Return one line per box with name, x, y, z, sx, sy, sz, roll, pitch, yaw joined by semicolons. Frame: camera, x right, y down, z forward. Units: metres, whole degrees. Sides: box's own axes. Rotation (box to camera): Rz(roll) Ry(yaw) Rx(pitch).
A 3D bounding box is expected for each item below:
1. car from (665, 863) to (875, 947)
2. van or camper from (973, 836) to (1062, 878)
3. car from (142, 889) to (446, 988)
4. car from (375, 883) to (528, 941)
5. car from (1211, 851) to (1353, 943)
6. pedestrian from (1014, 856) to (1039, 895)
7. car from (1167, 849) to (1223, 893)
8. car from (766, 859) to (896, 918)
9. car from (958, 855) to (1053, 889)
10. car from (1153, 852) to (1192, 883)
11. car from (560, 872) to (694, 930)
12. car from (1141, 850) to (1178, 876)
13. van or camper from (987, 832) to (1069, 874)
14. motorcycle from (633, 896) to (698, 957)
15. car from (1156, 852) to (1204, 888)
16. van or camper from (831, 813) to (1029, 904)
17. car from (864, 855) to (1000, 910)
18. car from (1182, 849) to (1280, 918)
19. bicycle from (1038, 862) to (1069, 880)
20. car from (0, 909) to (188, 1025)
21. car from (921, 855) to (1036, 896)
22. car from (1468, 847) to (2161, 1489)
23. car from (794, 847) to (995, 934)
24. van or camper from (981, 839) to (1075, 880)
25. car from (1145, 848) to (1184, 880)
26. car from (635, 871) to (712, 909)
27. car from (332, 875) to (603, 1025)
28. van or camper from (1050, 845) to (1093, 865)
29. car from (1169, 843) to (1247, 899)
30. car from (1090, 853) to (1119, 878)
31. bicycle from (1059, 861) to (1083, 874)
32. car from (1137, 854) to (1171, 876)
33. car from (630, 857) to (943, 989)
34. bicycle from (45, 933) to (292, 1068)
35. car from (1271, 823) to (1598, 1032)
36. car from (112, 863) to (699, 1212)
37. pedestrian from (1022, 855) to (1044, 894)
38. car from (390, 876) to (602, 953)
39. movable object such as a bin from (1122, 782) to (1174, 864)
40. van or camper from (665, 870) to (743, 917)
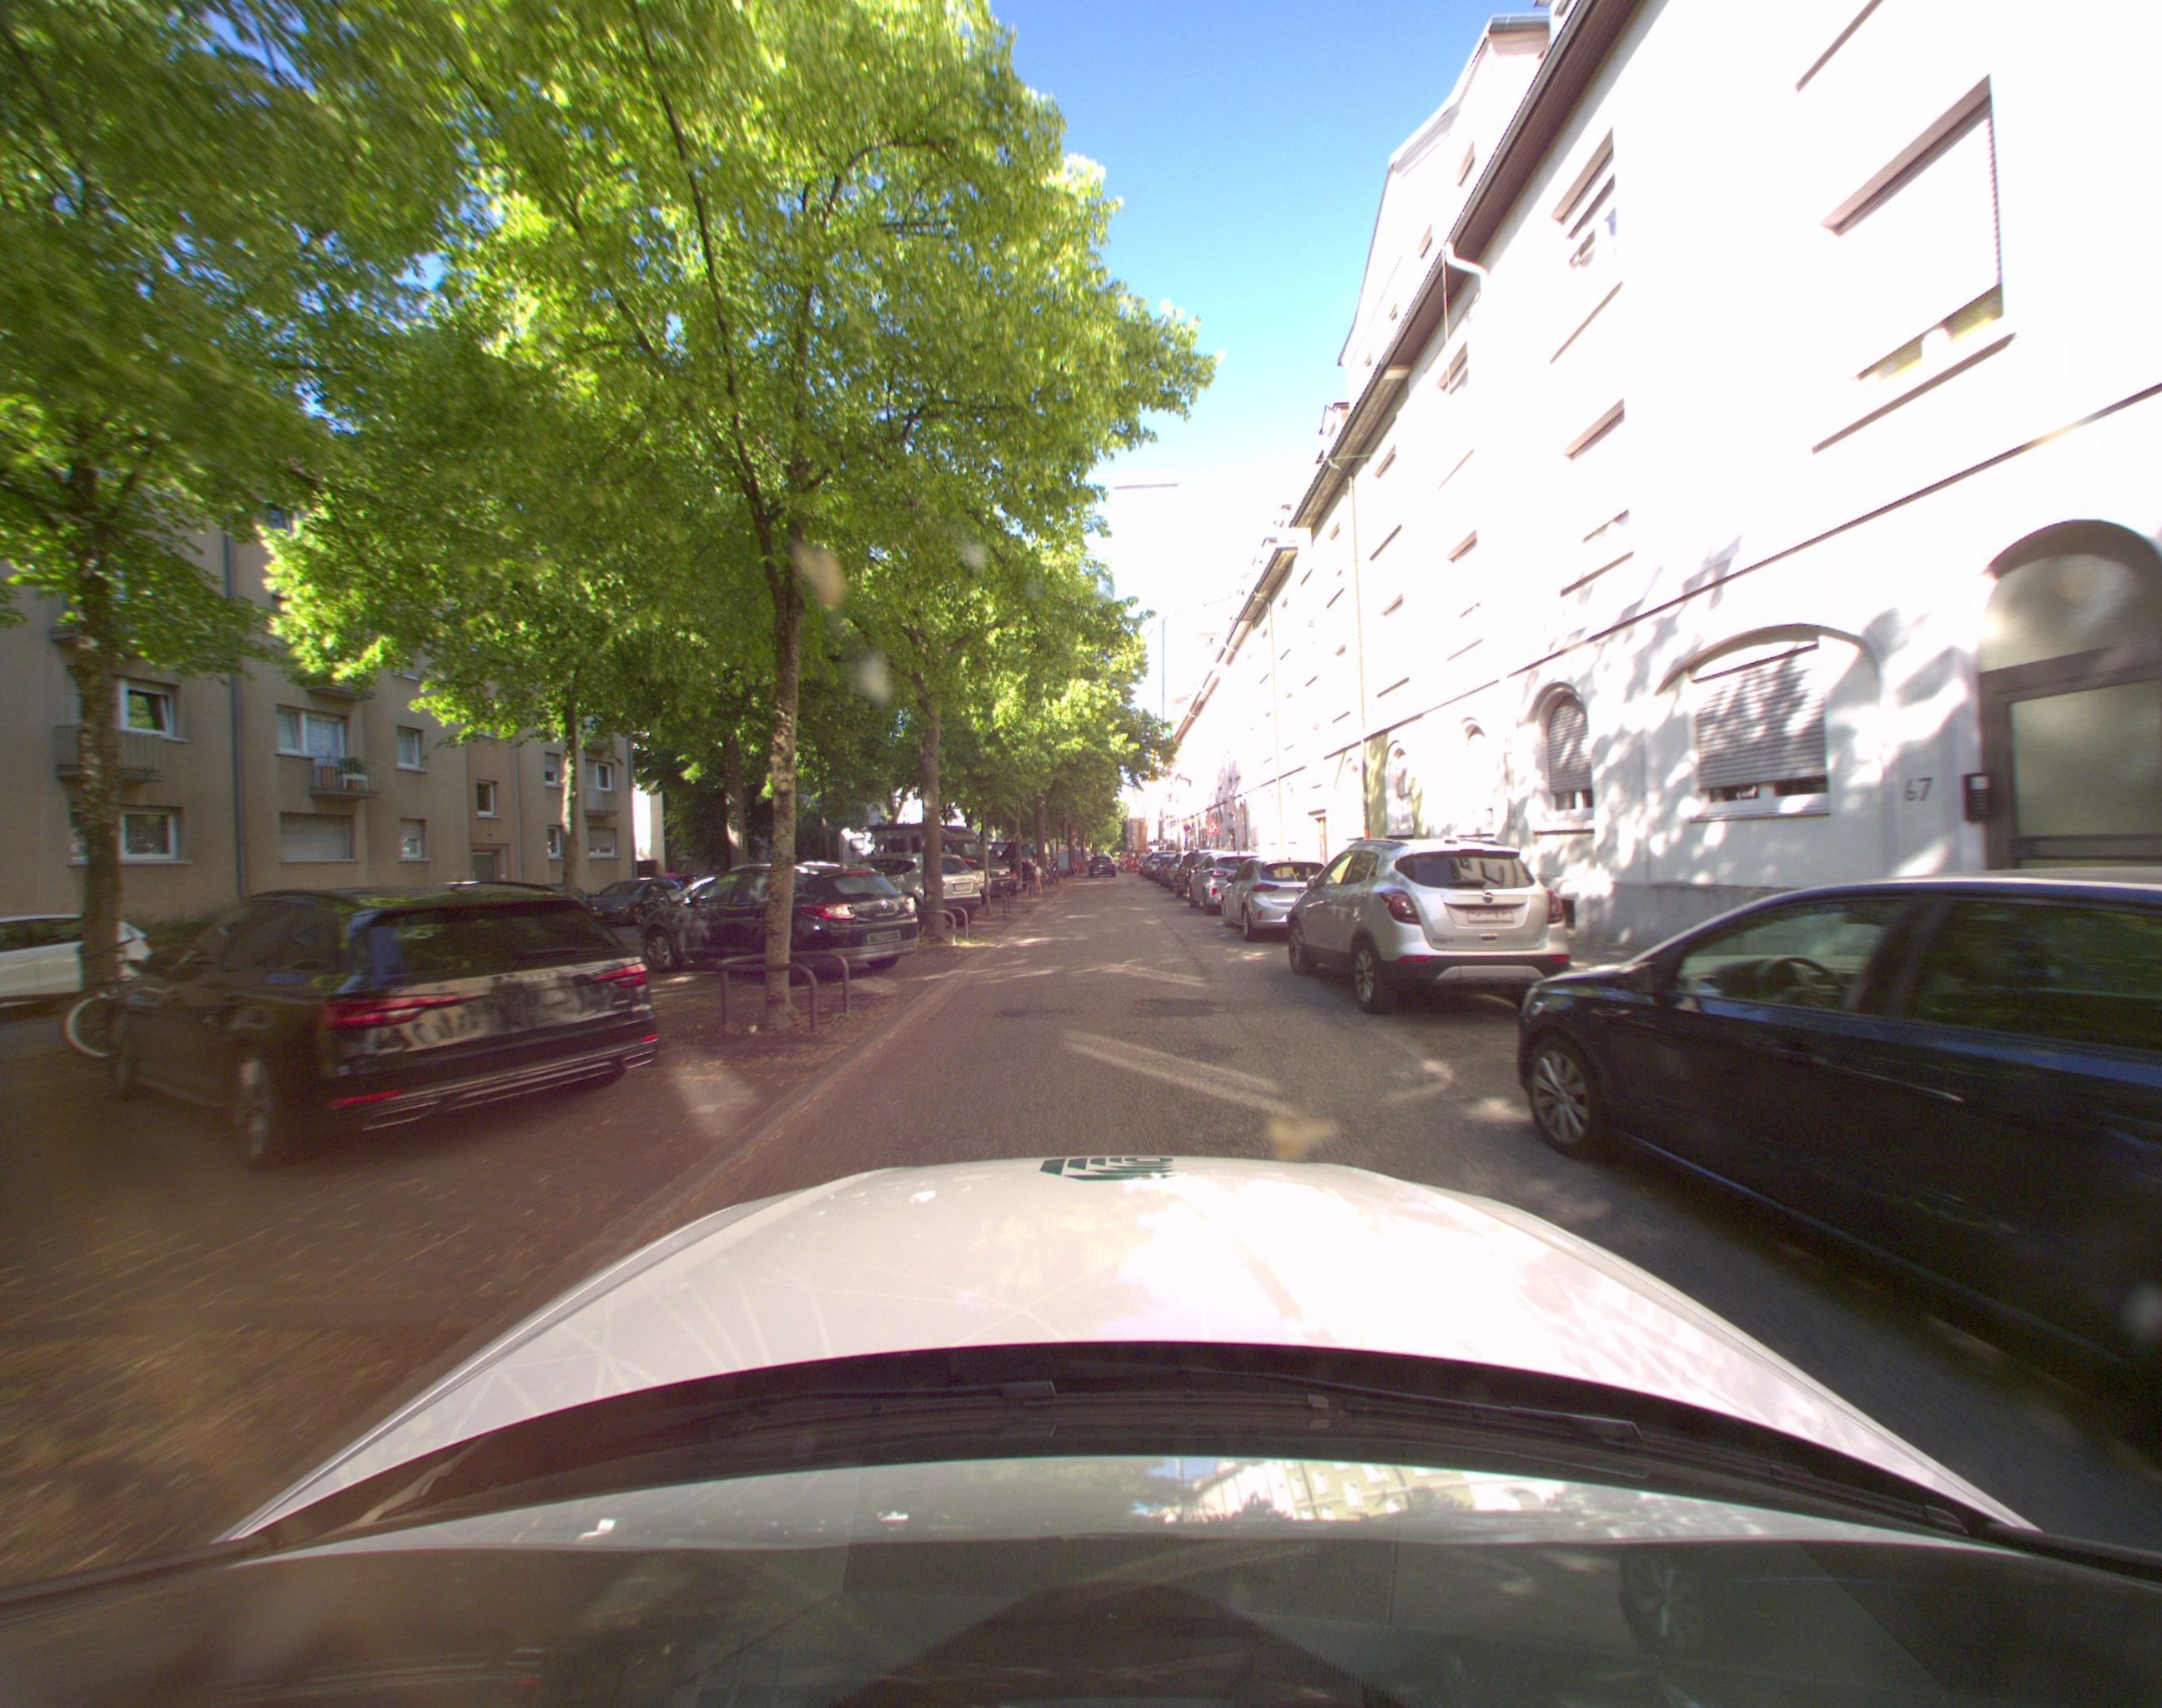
car;-6.116;0.908;15.902;3.990;1.403;1.835;-1;0;34
van or camper;-4.427;0.230;56.348;5.811;2.637;2.269;-3;0;31
car;-14.917;1.526;15.825;1.885;1.418;4.002;-3;0;2
car;-18.784;1.682;24.514;1.618;1.386;3.614;-3;0;2
car;3.622;0.693;15.429;1.716;1.432;4.160;-3;0;2
pedestrian;-2.090;0.823;31.175;0.703;1.456;0.600;-3;0;25
car;4.310;0.596;31.198;1.625;1.534;3.592;-3;0;0
car;-7.298;1.007;23.715;3.498;1.507;1.769;-3;0;35
car;-3.700;0.880;39.466;4.431;1.443;1.744;-2;0;34
car;4.581;0.646;41.313;1.611;1.412;3.790;-3;0;2
car;-14.621;1.452;26.561;1.757;1.508;4.311;-3;0;2
car;4.971;0.523;52.201;1.786;1.523;3.960;-3;0;-3
van or camper;-4.551;-0.069;69.465;6.592;3.240;2.511;-3;0;30
motorcycle;-7.473;1.263;14.598;0.693;0.957;1.897;-3;0;-37
car;4.352;0.663;36.316;1.625;1.412;4.089;-3;0;0
van or camper;-5.655;0.216;30.008;7.157;2.929;2.328;-3;0;28
car;-4.695;0.912;25.554;3.948;1.507;1.768;-3;0;30
car;3.766;0.676;21.129;1.717;1.528;4.157;-3;0;0
bicycle;-1.622;1.000;48.348;1.729;1.006;0.507;-3;0;-29
car;-15.261;1.614;10.991;1.885;1.387;4.002;-3;0;2
car;-4.098;0.858;32.426;4.274;1.424;1.685;-2;0;28
car;3.156;0.704;2.945;1.545;1.394;3.858;-3;0;-2
car;-4.095;0.778;17.724;4.094;1.679;1.770;-2;0;30
van or camper;-3.401;0.351;52.072;5.447;2.275;2.234;-3;0;25
car;4.724;0.526;46.632;1.809;1.674;4.675;-3;0;2
car;-18.825;1.629;37.794;1.618;1.482;3.614;-3;0;2
car;-7.772;1.066;10.227;3.586;1.455;1.830;-2;0;38
van or camper;-1.317;0.142;110.860;5.280;2.474;2.309;-3;0;34
car;4.019;0.495;26.379;1.718;1.596;4.156;-3;0;-1
car;1.550;0.724;54.872;1.791;1.503;3.586;-3;0;1
bicycle;-0.814;1.122;66.658;1.879;1.006;0.433;-3;0;25
car;5.049;0.728;56.752;1.987;1.409;4.501;-2;0;1
car;-4.115;0.851;11.117;4.366;1.462;1.727;-2;-1;34
bicycle;-8.527;1.316;7.731;0.435;0.940;1.764;-1;0;-4
car;3.480;0.609;8.977;1.717;1.686;4.157;-3;0;-1
car;-4.739;0.884;5.511;4.431;1.455;1.799;-2;0;33
pedestrian;-1.857;0.797;31.720;0.609;1.456;0.522;-3;0;25
car;-14.765;1.453;20.965;1.986;1.508;4.535;-3;0;2
movable object such as a bin;5.776;-2.615;70.049;3.444;6.759;2.384;-2;0;34
van or camper;-14.371;1.477;31.174;1.590;1.555;2.698;-3;0;2
